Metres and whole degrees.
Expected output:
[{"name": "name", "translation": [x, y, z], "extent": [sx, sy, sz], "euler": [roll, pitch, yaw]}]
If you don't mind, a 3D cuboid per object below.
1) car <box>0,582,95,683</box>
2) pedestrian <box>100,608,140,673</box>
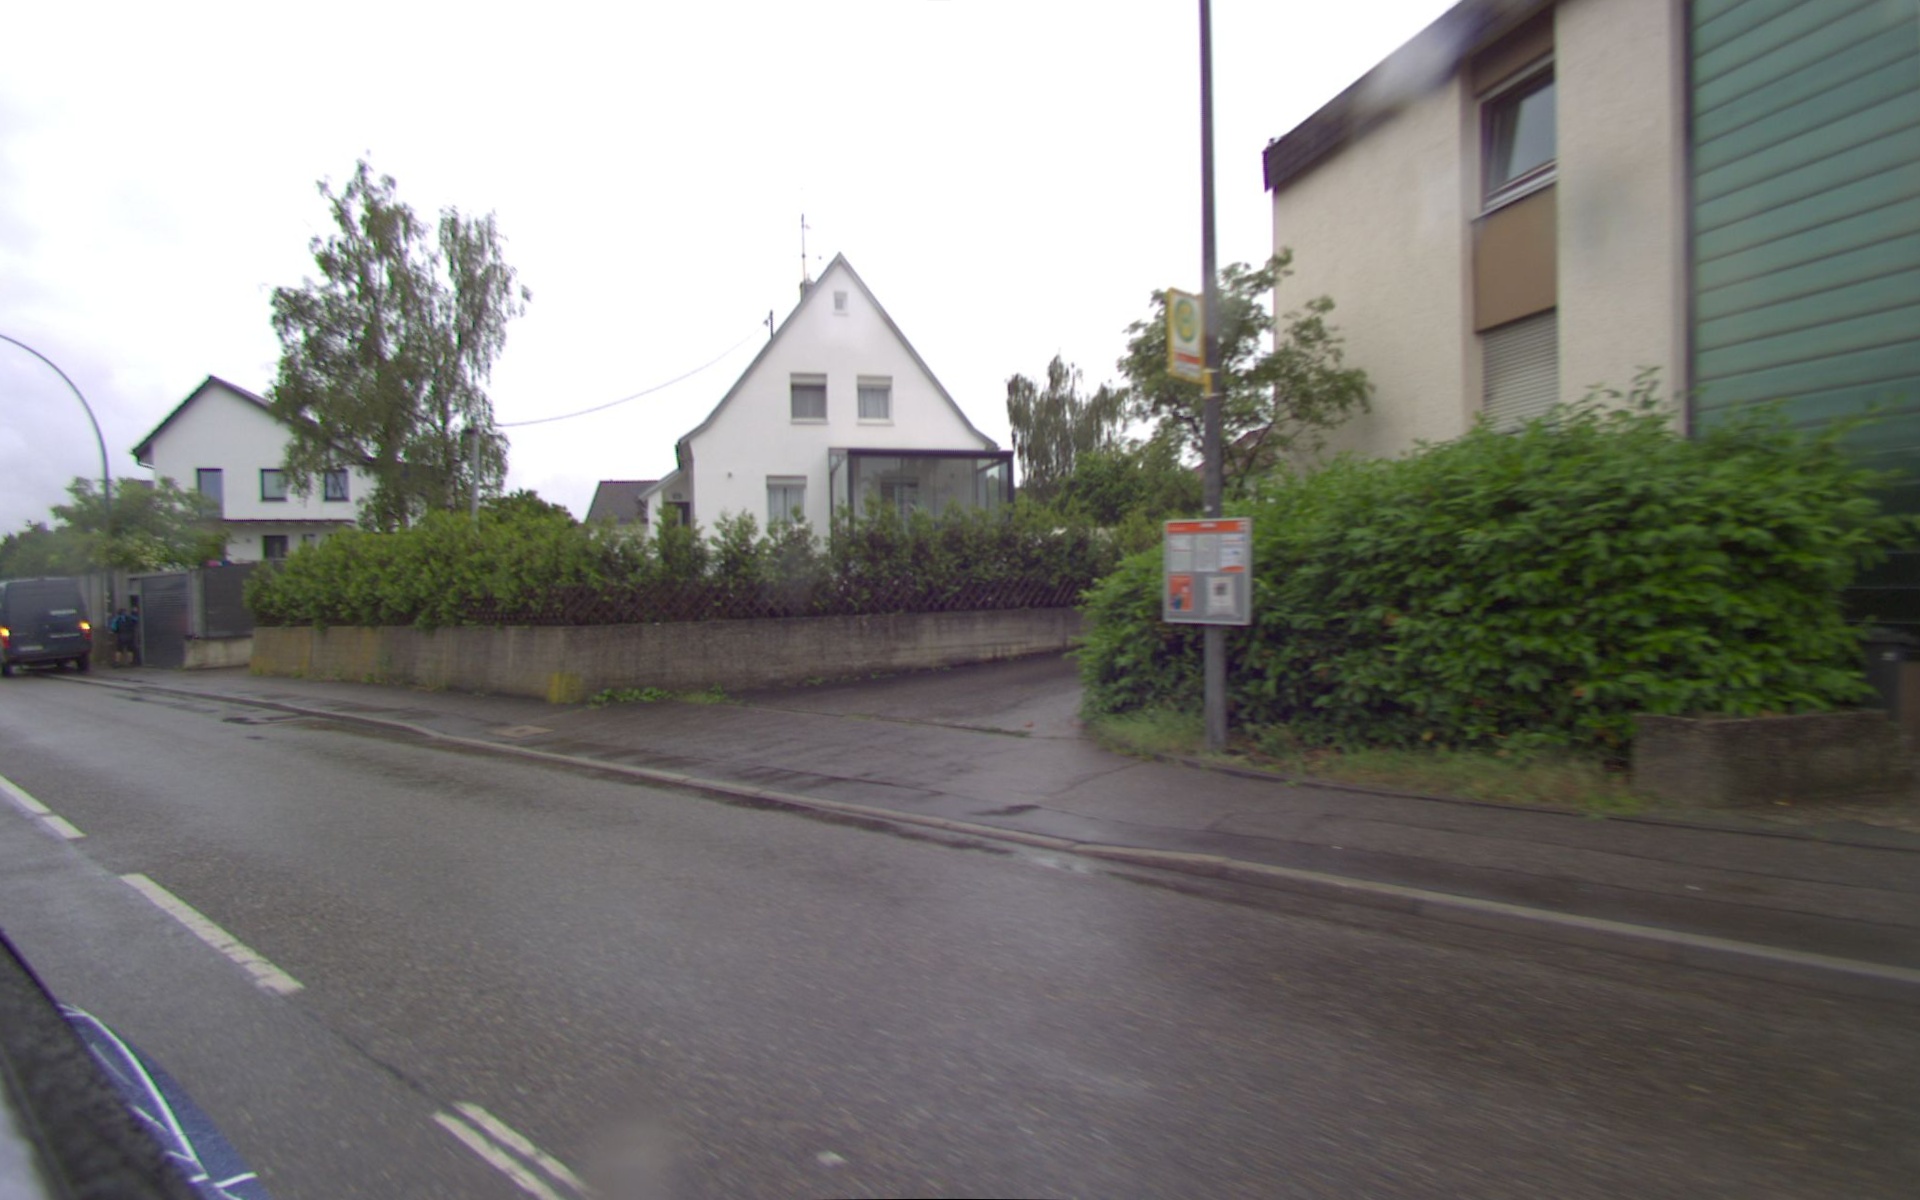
[{"name": "car", "translation": [-27.609, 0.945, 29.935], "extent": [5.914, 2.669, 2.073], "euler": [-2, 1, 40]}, {"name": "pedestrian", "translation": [-24.875, 1.185, 29.975], "extent": [0.669, 1.900, 0.812], "euler": [-1, 0, -20]}]
